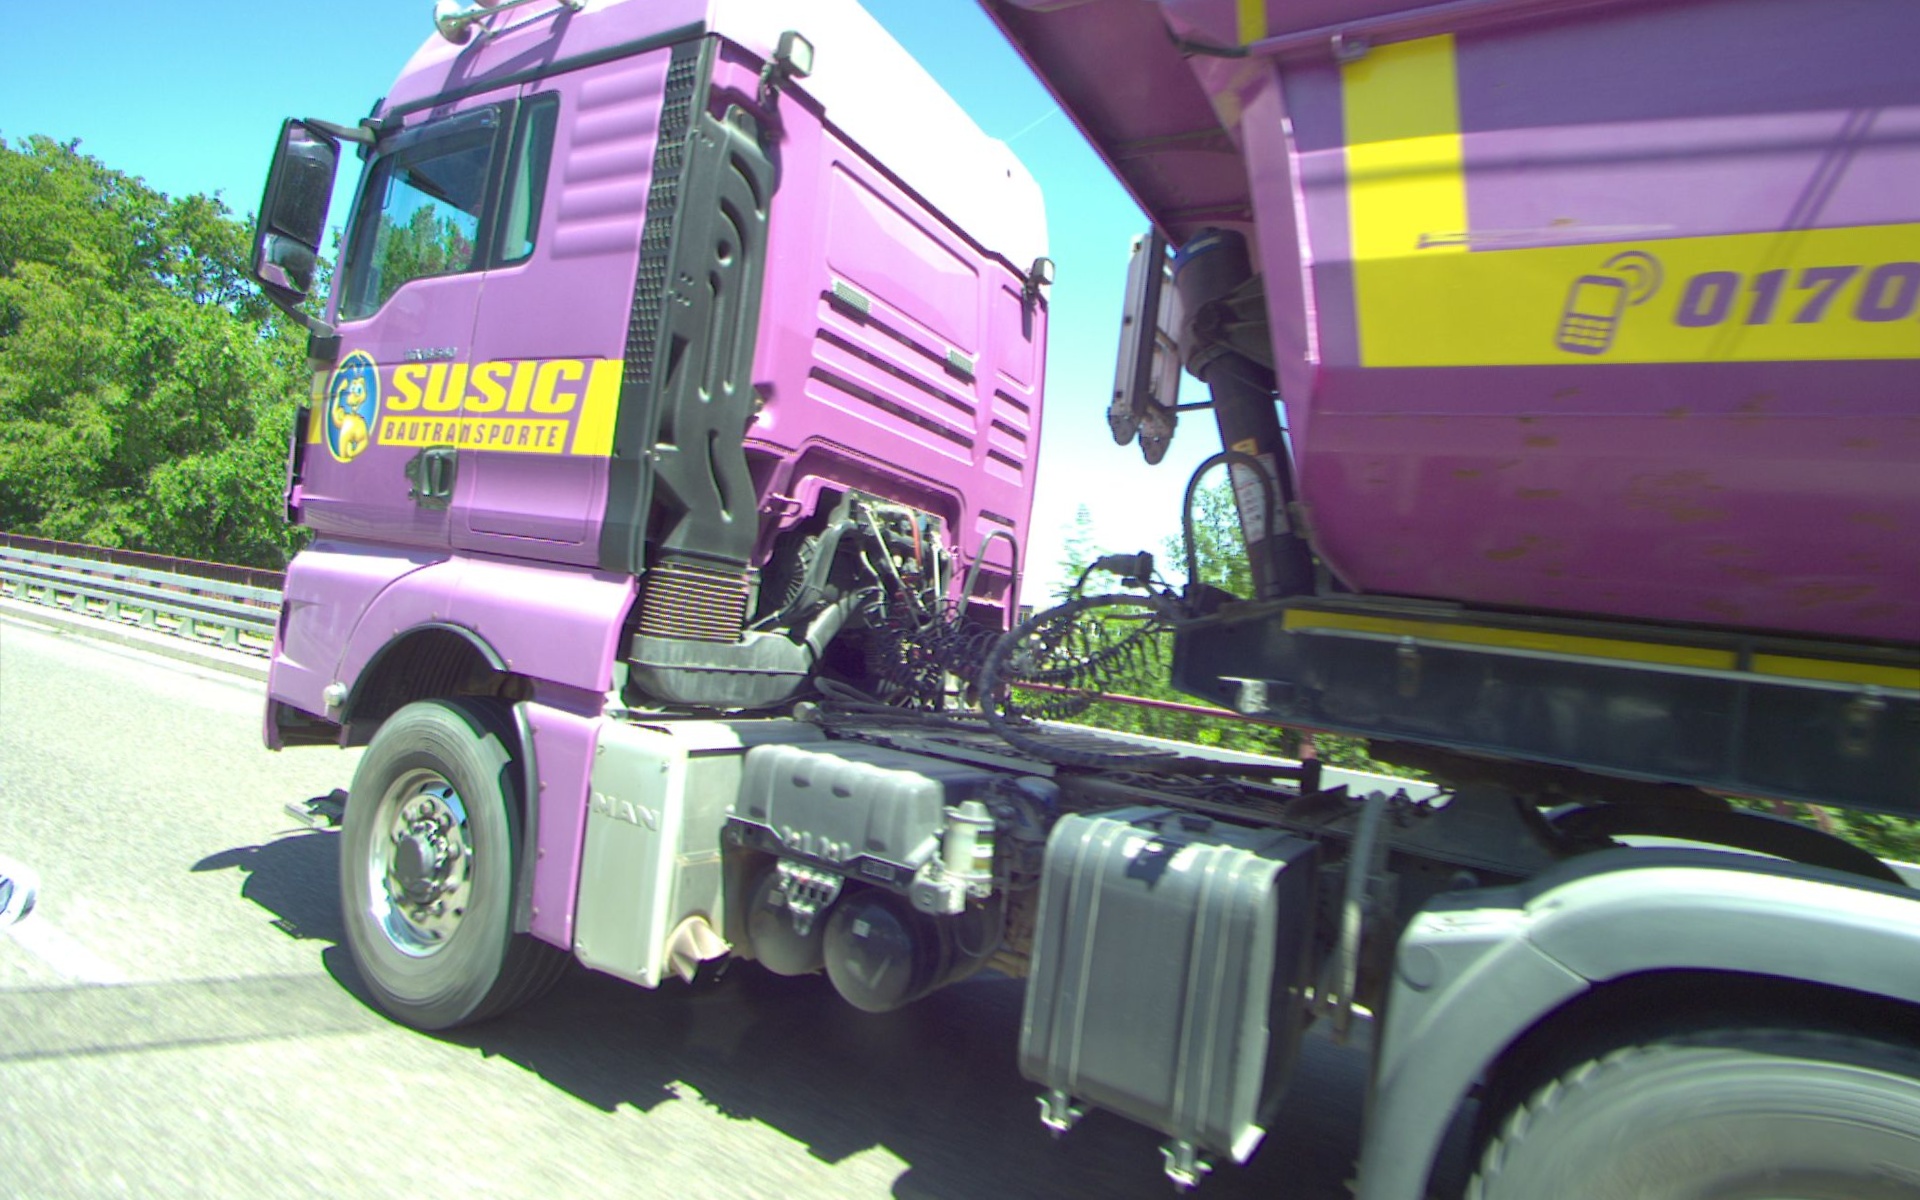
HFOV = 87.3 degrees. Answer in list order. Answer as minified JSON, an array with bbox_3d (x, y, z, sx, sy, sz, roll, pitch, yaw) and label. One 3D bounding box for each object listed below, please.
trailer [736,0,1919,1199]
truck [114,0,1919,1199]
[{"bbox_3d":[3.955,0.091,1.330,8.470,3.670,2.604,6,-3,31],"label":"trailer"},{"bbox_3d":[-0.251,-0.327,3.962,5.840,3.733,2.604,6,-3,31],"label":"truck"}]
